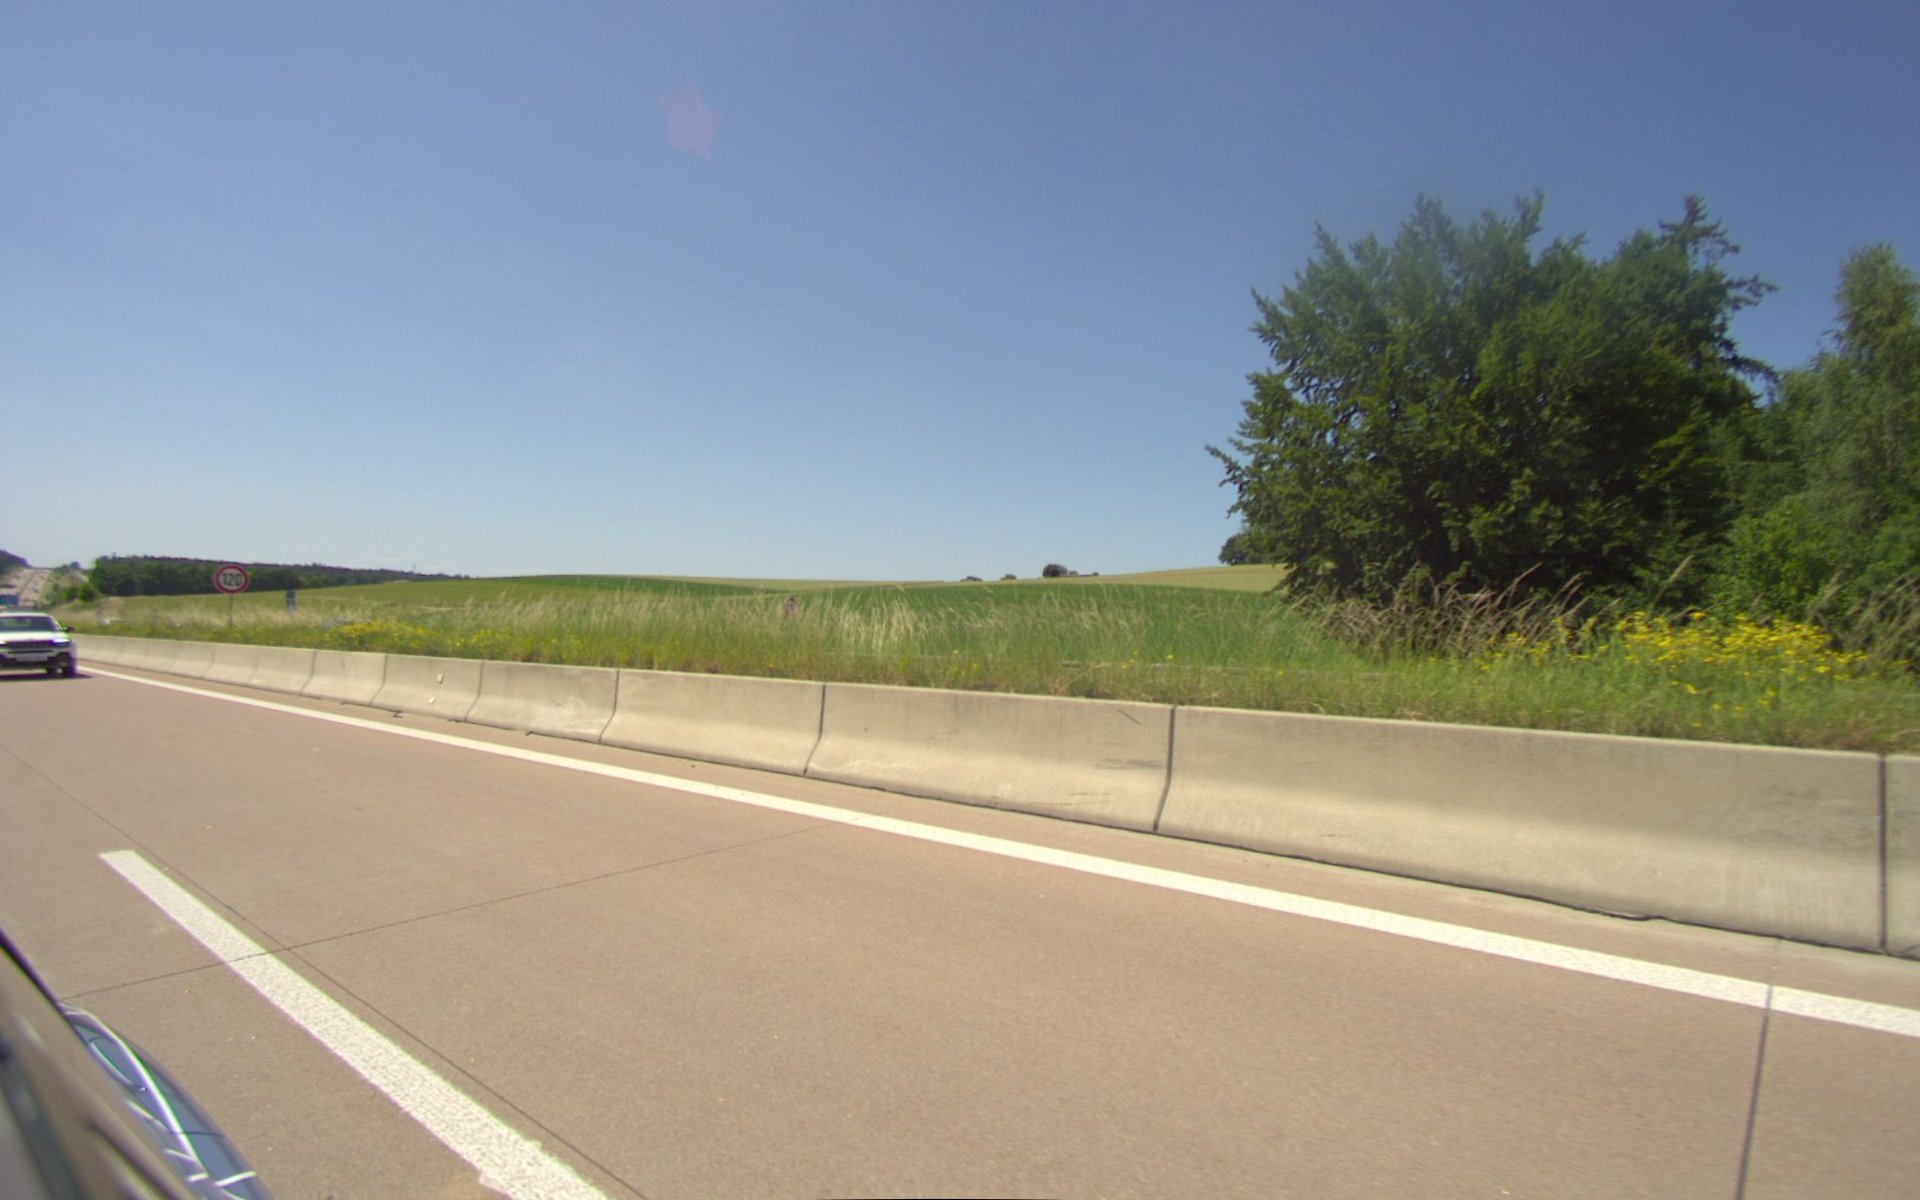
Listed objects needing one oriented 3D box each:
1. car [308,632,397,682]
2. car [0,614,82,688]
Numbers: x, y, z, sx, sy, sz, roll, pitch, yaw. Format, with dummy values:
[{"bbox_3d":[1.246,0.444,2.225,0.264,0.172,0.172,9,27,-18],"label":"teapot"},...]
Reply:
[{"bbox_3d":[-24.630,2.273,40.965,3.998,1.812,1.973,-1,0,41],"label":"car"},{"bbox_3d":[-22.663,1.166,24.220,4.831,1.619,1.859,-1,-1,41],"label":"car"}]
